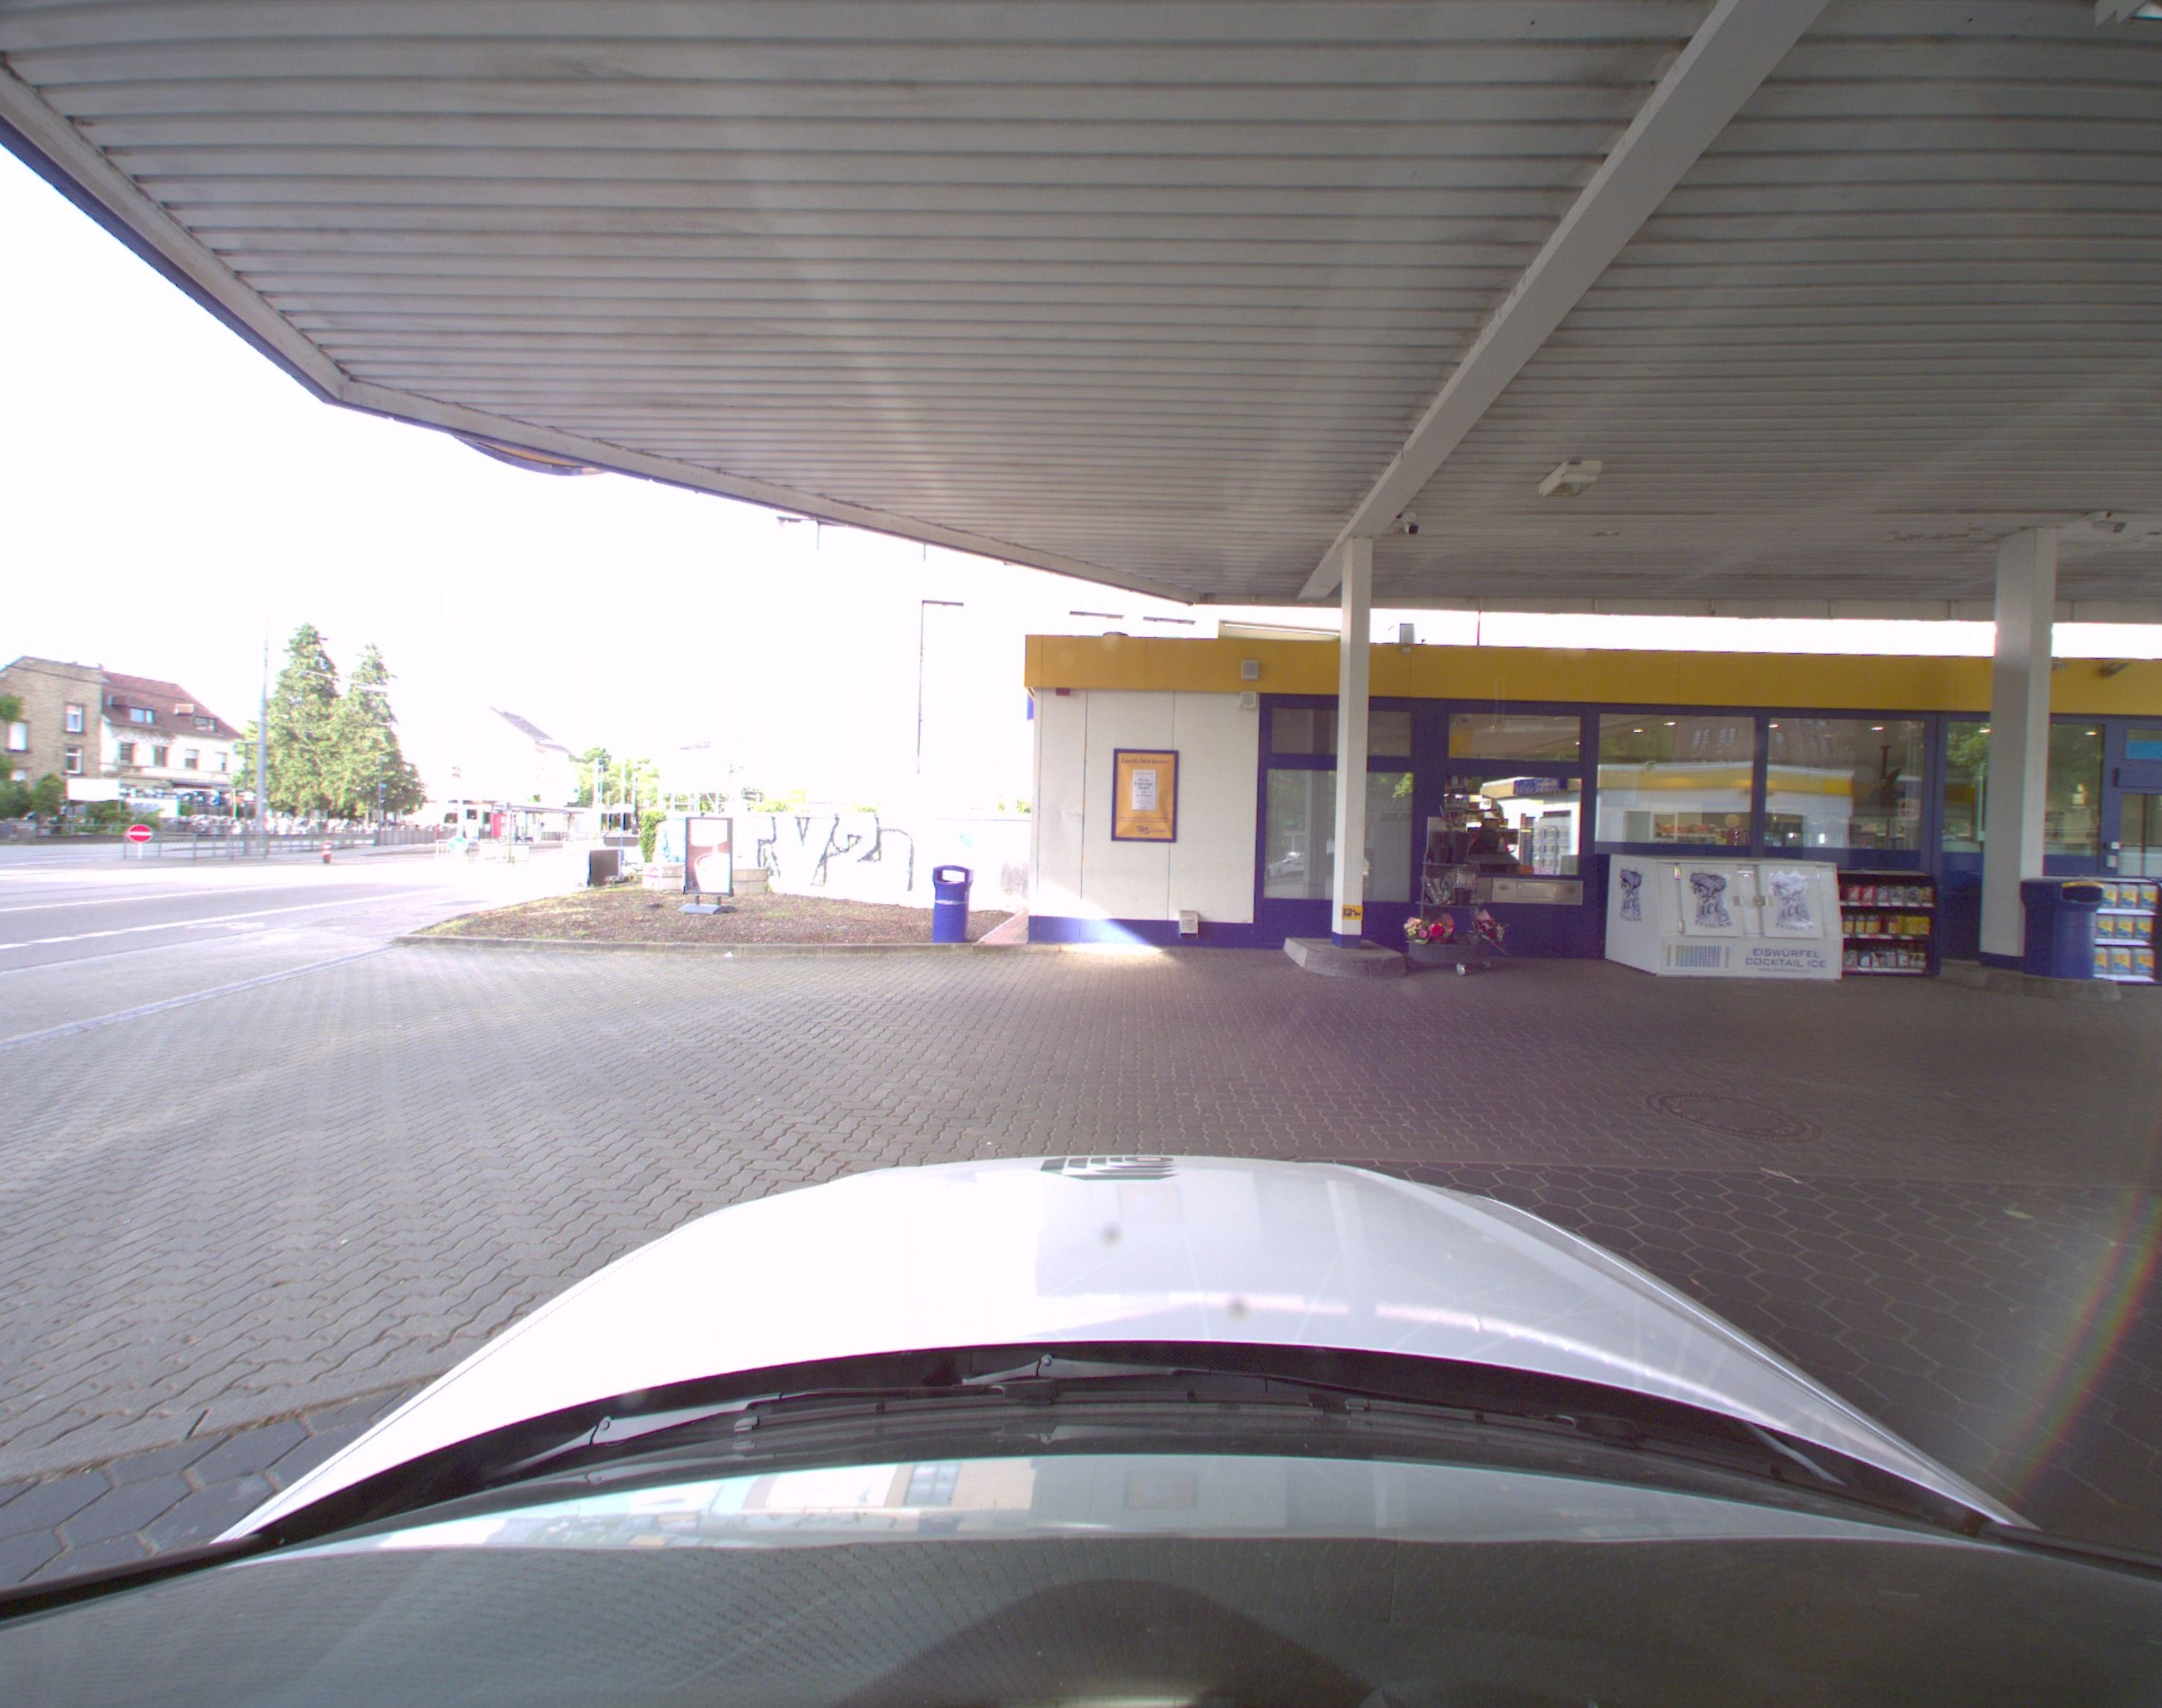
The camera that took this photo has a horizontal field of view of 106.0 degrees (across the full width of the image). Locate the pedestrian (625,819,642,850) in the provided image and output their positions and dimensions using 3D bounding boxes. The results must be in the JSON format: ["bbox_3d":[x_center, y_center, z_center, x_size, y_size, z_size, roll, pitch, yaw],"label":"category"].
[{"bbox_3d":[-29.846,-1.311,54.311,0.807,2.014,0.846,0,-1,-14],"label":"pedestrian"}]
